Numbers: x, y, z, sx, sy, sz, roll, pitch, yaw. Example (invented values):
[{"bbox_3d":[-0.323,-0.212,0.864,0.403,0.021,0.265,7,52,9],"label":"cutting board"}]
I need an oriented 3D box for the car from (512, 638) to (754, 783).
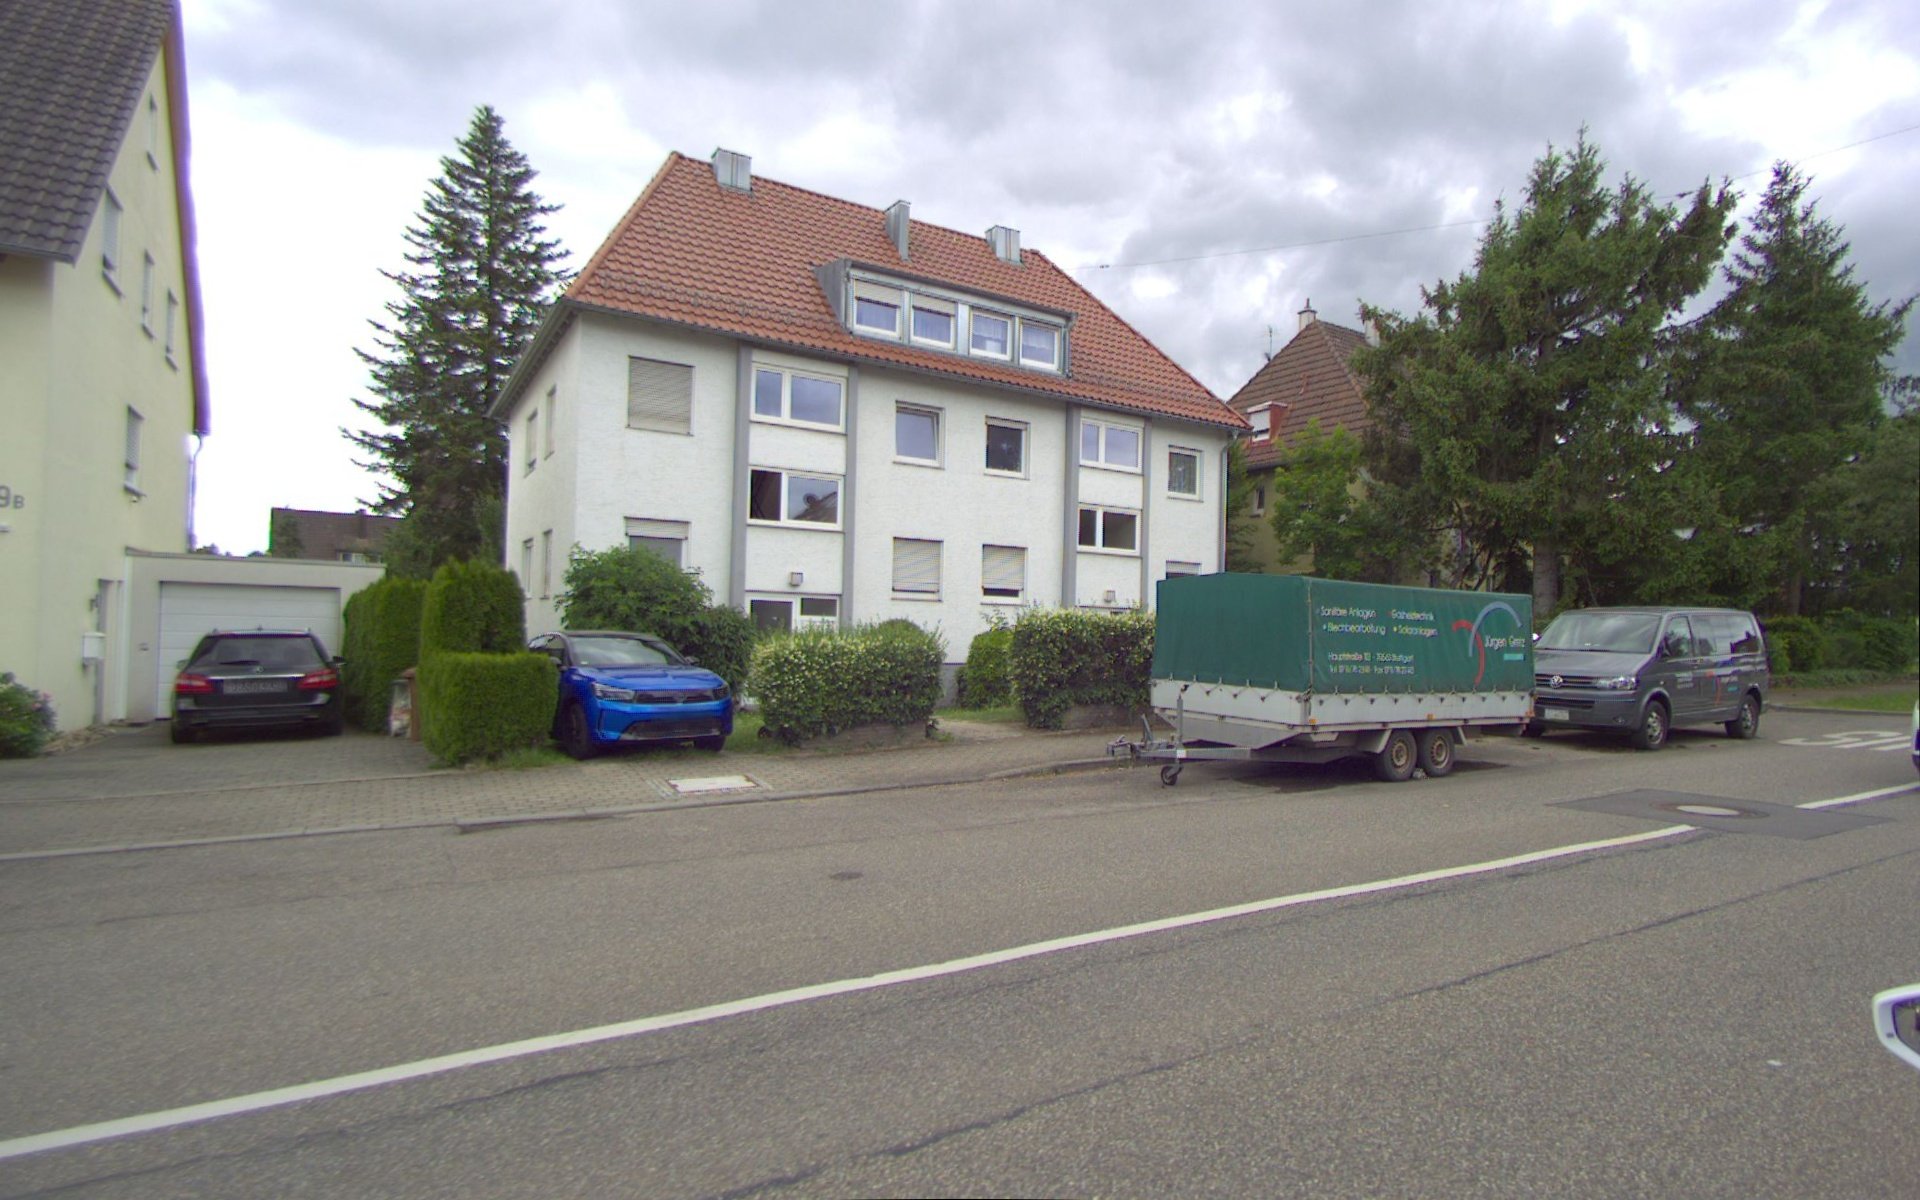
[{"bbox_3d":[-4.070,1.178,12.092,1.712,1.389,3.961,1,-2,-35],"label":"car"}]

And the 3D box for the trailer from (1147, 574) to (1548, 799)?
[{"bbox_3d":[4.508,0.873,11.558,4.377,2.116,2.143,1,-2,-32],"label":"trailer"}]

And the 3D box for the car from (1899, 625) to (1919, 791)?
[{"bbox_3d":[11.555,1.081,10.338,4.253,1.624,1.811,1,-2,-33],"label":"car"}]

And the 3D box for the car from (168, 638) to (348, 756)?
[{"bbox_3d":[-9.611,1.255,13.922,1.776,1.374,3.930,1,-3,-33],"label":"car"}]

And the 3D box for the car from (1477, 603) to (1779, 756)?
[{"bbox_3d":[10.149,1.102,15.170,4.843,1.975,1.983,1,-2,-32],"label":"car"}]
